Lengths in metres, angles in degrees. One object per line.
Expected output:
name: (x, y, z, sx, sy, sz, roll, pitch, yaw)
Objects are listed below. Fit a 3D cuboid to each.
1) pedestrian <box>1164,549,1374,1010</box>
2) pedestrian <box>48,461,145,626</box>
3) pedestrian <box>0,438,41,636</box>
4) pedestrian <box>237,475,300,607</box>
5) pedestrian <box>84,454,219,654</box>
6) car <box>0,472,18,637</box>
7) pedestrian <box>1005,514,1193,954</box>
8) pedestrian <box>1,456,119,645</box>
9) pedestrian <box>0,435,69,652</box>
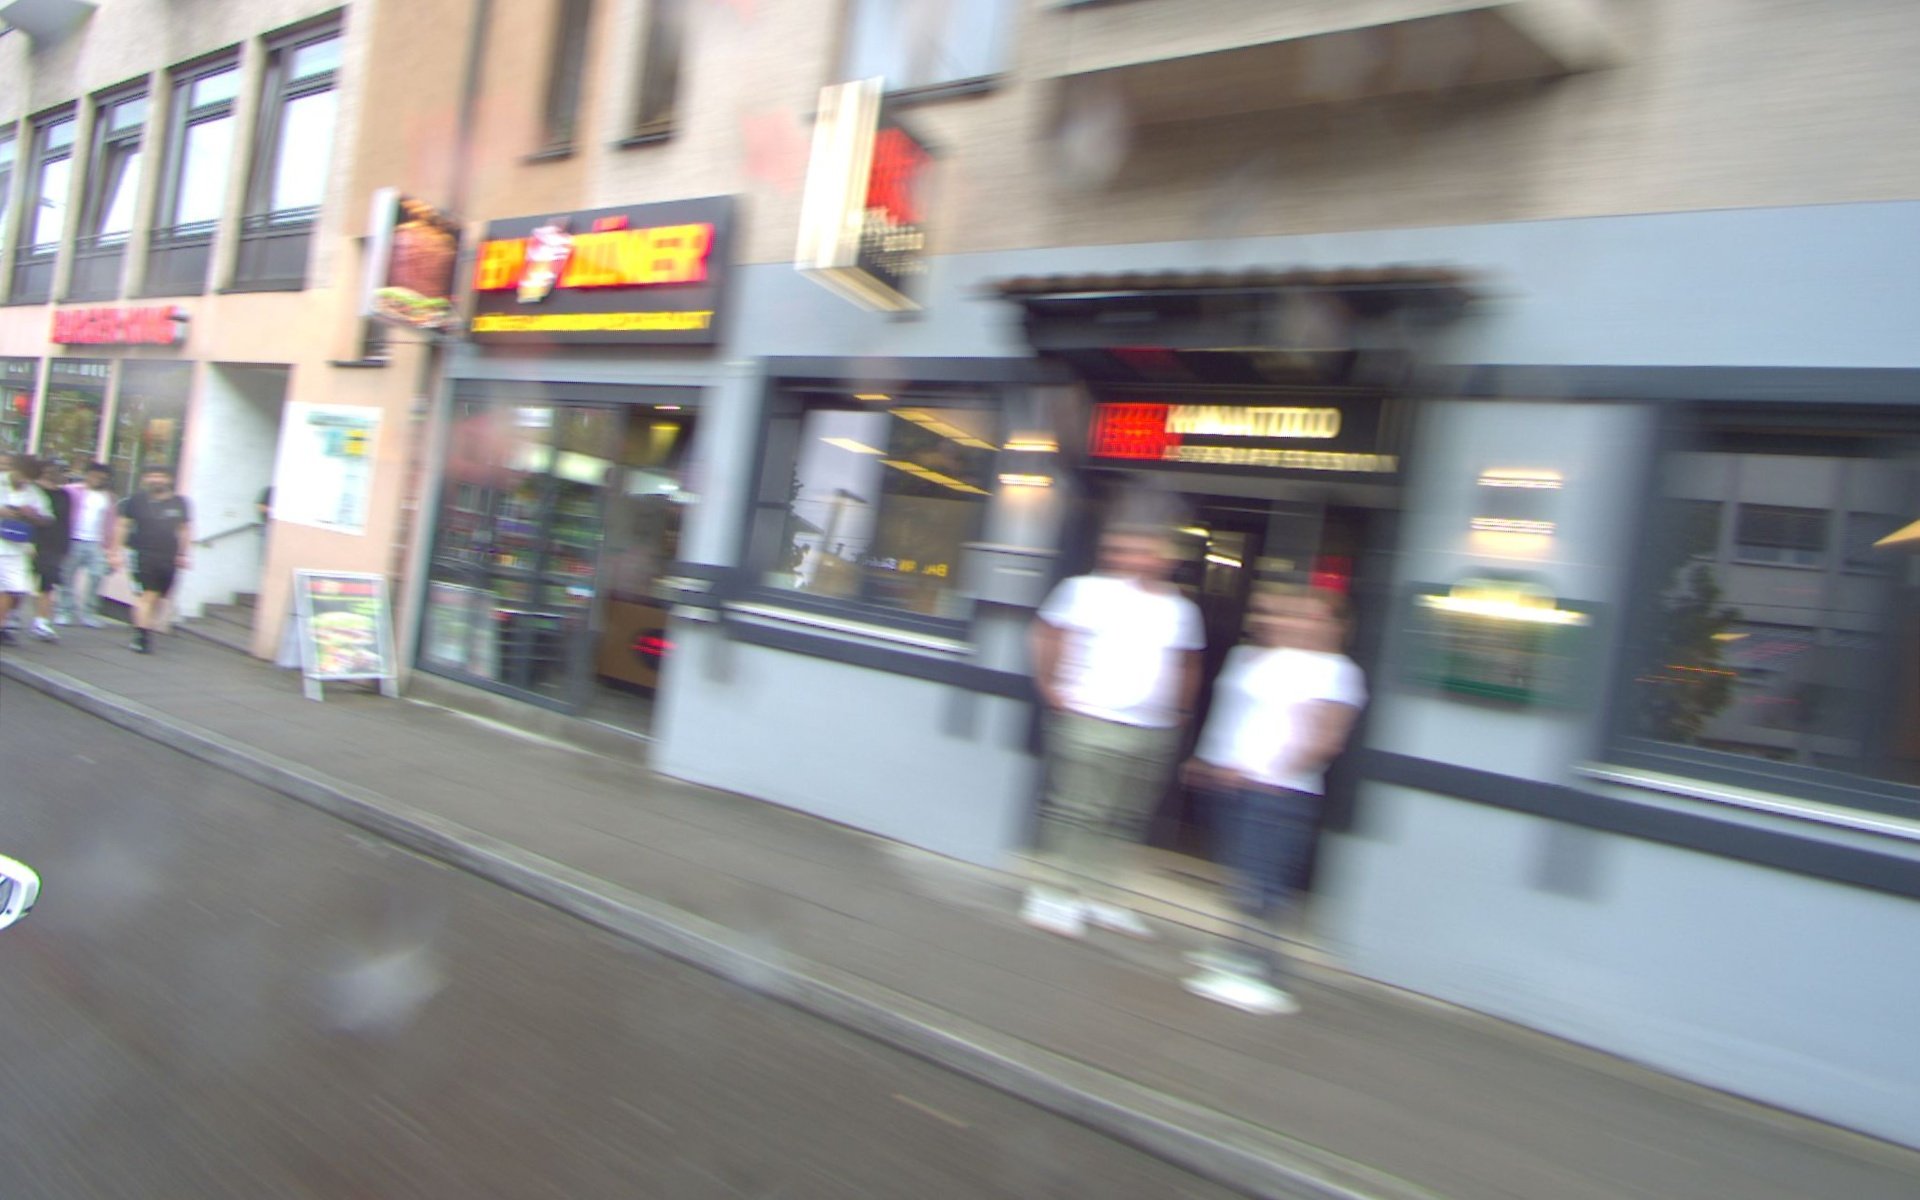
pedestrian: (1.291, 0.688, 4.160, 0.585, 1.701, 0.546, 7, 1, 24)
pedestrian: (-9.573, -0.614, 11.158, 0.469, 1.735, 0.576, 7, 1, 33)
pedestrian: (-9.897, -0.658, 10.164, 0.525, 1.972, 0.652, 7, 1, 33)
pedestrian: (-8.025, -0.676, 11.684, 0.366, 1.471, 0.359, 7, 1, 29)
pedestrian: (-7.887, -0.430, 9.827, 0.578, 1.842, 0.756, 7, 1, 33)
car: (-9.992, -0.485, 8.451, 4.341, 1.635, 1.909, 7, -1, 32)
pedestrian: (0.662, 0.590, 4.714, 0.547, 1.881, 0.530, 7, 1, 24)
pedestrian: (-8.775, -0.472, 9.814, 0.571, 1.735, 0.611, 7, 1, 33)
pedestrian: (-8.637, -0.520, 9.022, 0.642, 1.878, 0.696, 7, 1, 33)
